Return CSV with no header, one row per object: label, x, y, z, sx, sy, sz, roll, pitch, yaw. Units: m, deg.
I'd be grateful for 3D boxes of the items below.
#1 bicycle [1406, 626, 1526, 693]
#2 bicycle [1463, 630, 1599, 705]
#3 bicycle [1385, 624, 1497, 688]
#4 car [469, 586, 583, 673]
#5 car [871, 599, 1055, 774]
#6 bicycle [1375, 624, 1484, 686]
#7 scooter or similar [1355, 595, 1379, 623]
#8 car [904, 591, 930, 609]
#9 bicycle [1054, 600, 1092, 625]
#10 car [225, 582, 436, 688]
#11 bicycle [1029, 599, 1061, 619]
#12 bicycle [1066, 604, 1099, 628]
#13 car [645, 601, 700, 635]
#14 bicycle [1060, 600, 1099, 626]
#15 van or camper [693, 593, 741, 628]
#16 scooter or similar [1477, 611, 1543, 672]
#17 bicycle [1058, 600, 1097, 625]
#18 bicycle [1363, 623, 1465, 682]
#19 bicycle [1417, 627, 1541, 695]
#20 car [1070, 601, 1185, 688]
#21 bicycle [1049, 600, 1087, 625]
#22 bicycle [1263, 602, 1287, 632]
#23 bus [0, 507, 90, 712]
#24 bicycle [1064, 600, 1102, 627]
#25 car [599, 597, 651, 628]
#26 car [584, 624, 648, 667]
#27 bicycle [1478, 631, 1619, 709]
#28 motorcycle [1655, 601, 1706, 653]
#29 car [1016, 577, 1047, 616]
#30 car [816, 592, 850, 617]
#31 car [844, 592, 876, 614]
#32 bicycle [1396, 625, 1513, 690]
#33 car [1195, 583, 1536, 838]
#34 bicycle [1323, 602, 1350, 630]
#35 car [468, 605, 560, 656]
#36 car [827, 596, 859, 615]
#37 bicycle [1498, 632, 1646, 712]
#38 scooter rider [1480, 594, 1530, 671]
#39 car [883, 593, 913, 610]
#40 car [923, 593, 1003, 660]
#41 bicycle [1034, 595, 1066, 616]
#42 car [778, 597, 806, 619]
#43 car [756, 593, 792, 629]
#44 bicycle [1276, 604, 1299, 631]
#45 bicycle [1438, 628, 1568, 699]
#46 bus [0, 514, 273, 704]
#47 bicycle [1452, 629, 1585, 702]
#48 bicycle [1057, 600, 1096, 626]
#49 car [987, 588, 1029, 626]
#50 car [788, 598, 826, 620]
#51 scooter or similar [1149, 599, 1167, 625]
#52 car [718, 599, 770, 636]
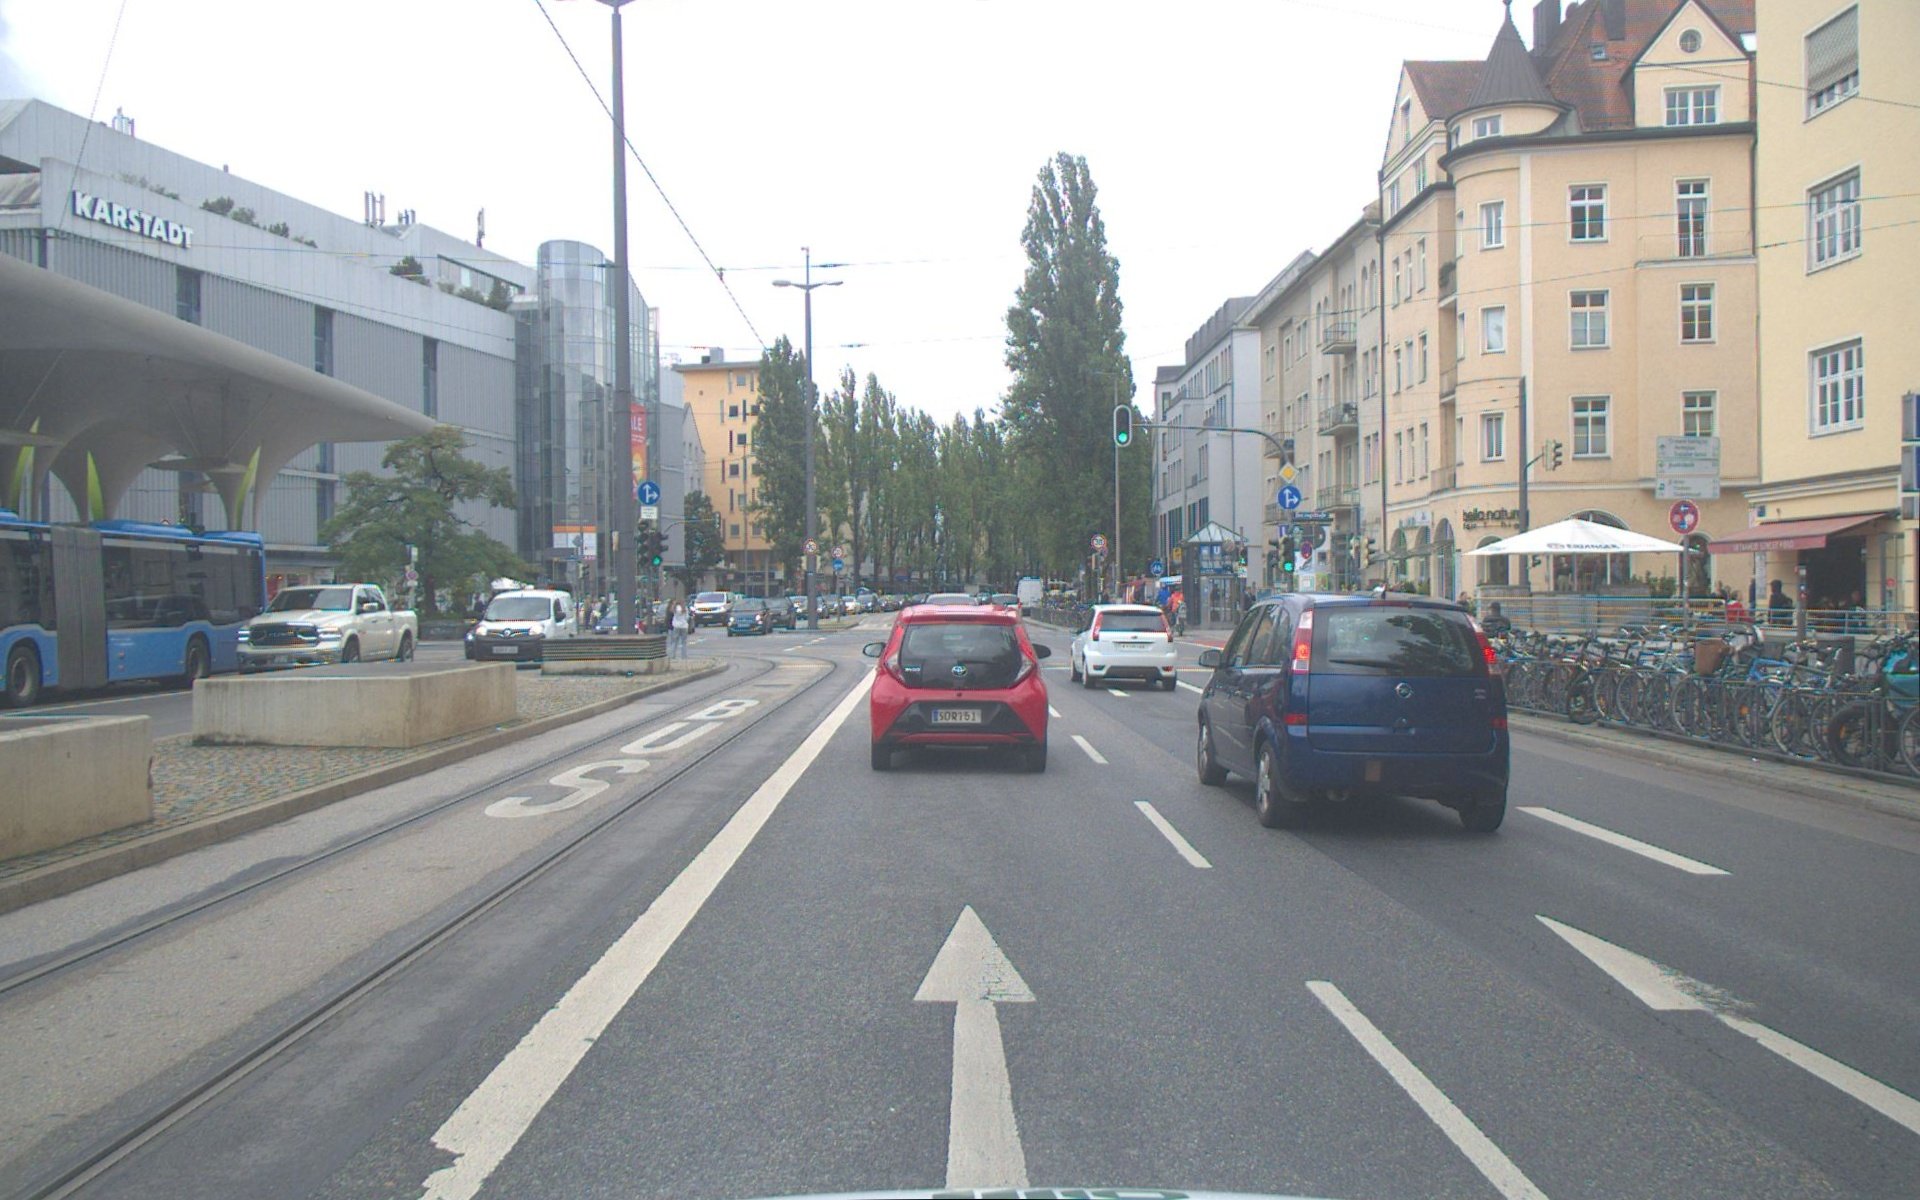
bicycle,7.968,0.933,26.101,1.807,1.013,0.346,-2,0,40
bicycle,8.029,0.945,23.302,1.810,1.013,0.346,-2,0,44
bicycle,7.970,0.929,27.453,1.810,1.013,0.346,-2,0,43
car,-10.281,0.661,39.487,1.750,1.887,4.216,-2,0,-3
car,0.040,0.747,15.864,1.572,1.487,3.130,1,0,1
bicycle,7.964,0.926,28.119,1.810,1.013,0.346,-2,0,43
scooter or similar,15.199,0.334,61.784,0.803,1.011,0.593,0,3,22
car,-4.286,-0.040,164.899,1.951,1.721,4.924,-2,0,5
bicycle,5.373,0.609,78.943,1.765,1.178,0.486,-1,0,30
car,-12.600,0.646,33.611,2.131,1.920,6.153,-1,0,-2
bicycle,4.926,0.510,95.819,1.801,1.156,0.584,-1,0,36
bicycle,5.491,0.703,74.082,0.495,1.046,1.577,-1,0,-42
car,-12.924,0.791,74.510,1.805,1.441,4.034,-1,0,-1
bicycle,5.500,0.599,76.136,1.770,1.178,0.546,-1,0,38
van or camper,-13.463,0.552,91.877,1.889,1.858,5.440,-1,0,-1
scooter or similar,10.150,0.755,30.571,0.760,1.094,1.256,-1,0,-2
bicycle,5.505,0.595,77.628,1.763,1.178,0.486,-1,0,26
bicycle,8.051,0.924,29.405,0.345,1.013,1.812,-1,0,-44
bicycle,7.962,0.935,25.428,1.807,1.013,0.346,-2,0,40
car,2.981,0.769,30.031,1.665,1.451,3.496,-1,0,-1
bicycle,5.258,0.613,80.319,1.768,1.178,0.650,-1,0,36
bicycle,12.408,0.667,65.165,0.555,1.127,1.866,-1,0,0
bus,-15.526,0.201,21.965,2.607,3.060,10.511,-3,0,-2
bicycle,5.566,0.618,74.743,1.773,1.219,0.555,-1,0,43
car,-18.105,0.679,89.583,1.862,1.570,4.393,-1,0,0
car,-12.868,1.677,62.059,1.644,1.420,4.231,-2,0,-2
bicycle,8.009,0.947,22.584,1.810,1.013,0.346,-2,0,44
motorcycle,16.508,0.606,37.926,0.476,1.176,1.571,-1,0,0
car,5.194,-0.234,120.326,2.063,2.766,4.804,-1,0,0
car,-9.356,0.308,122.257,1.706,1.699,4.735,-1,0,4
car,-8.482,0.242,141.072,1.895,1.769,4.592,0,0,7
bicycle,7.982,0.931,26.766,1.807,1.013,0.346,-2,0,40
car,2.877,0.711,12.481,1.668,1.617,3.556,1,0,0
bicycle,14.805,0.629,65.106,0.484,1.077,1.864,-1,0,-5
car,-13.366,0.881,49.825,1.639,1.402,4.612,-1,0,-2
car,-9.305,0.420,131.564,1.728,1.446,4.642,-1,0,6
bicycle,8.083,0.951,21.896,1.807,1.013,0.346,-2,0,40
scooter rider,10.103,0.592,30.656,0.686,1.413,0.643,-1,0,-2
car,-5.790,0.093,155.128,1.951,1.561,4.591,-1,0,9
car,0.038,0.651,42.787,1.953,1.646,3.999,-1,0,-1
bicycle,5.030,0.321,92.132,1.805,1.156,0.583,-1,0,43
car,-12.586,0.584,124.278,1.663,1.624,4.000,-1,0,0
car,-8.293,0.476,73.426,1.475,1.561,2.832,-1,0,-9
bicycle,12.899,0.679,65.151,0.484,0.992,1.866,-1,0,0
bicycle,8.064,0.940,24.621,1.807,1.013,0.346,-2,0,40
bus,-15.761,0.160,31.000,2.606,3.060,7.511,-3,0,-1
bicycle,8.073,0.943,23.966,1.807,1.013,0.346,-2,0,40
bicycle,5.407,0.595,76.818,1.770,1.178,0.546,-1,0,38
car,2.414,0.340,83.482,1.953,1.870,3.999,-1,0,-1
car,-10.385,0.581,112.511,1.952,1.436,4.169,-1,0,3
scooter or similar,9.425,0.559,78.571,0.357,1.196,1.345,-1,0,29
car,-8.967,0.721,68.390,1.521,1.471,3.521,-1,0,-18
